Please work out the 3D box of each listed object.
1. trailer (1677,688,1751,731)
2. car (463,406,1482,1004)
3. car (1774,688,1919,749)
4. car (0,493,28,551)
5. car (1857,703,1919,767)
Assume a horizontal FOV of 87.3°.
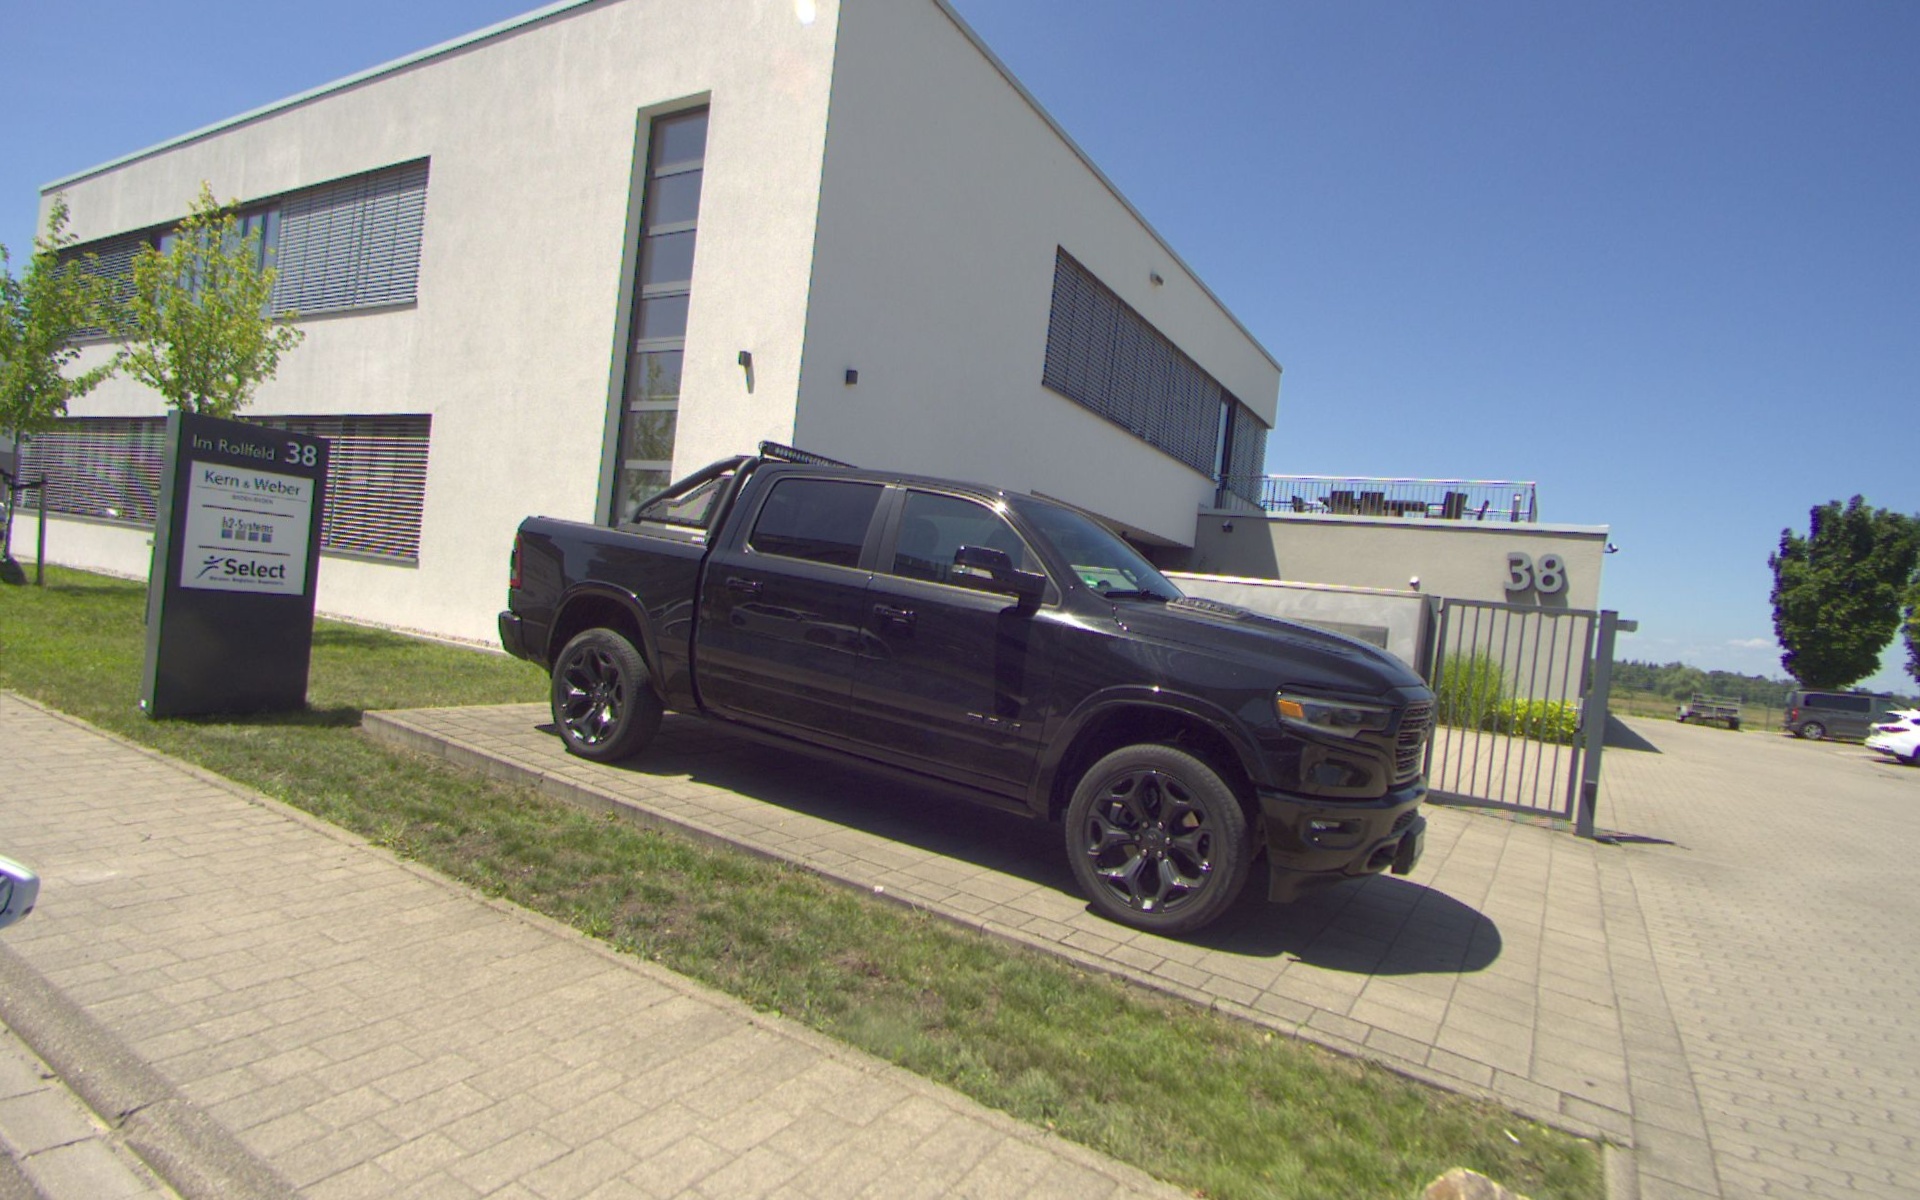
[{"bbox_3d":[30.588,4.417,40.928,1.967,1.371,3.990,7,0,33],"label":"trailer"},{"bbox_3d":[-0.243,0.181,6.050,5.701,2.039,1.996,9,2,30],"label":"car"},{"bbox_3d":[34.091,4.500,38.575,4.119,1.822,1.857,4,-1,32],"label":"car"},{"bbox_3d":[-27.327,-2.317,27.431,3.956,1.467,1.725,7,-1,32],"label":"car"},{"bbox_3d":[26.269,3.679,26.213,3.935,1.523,1.857,4,-1,32],"label":"car"}]
